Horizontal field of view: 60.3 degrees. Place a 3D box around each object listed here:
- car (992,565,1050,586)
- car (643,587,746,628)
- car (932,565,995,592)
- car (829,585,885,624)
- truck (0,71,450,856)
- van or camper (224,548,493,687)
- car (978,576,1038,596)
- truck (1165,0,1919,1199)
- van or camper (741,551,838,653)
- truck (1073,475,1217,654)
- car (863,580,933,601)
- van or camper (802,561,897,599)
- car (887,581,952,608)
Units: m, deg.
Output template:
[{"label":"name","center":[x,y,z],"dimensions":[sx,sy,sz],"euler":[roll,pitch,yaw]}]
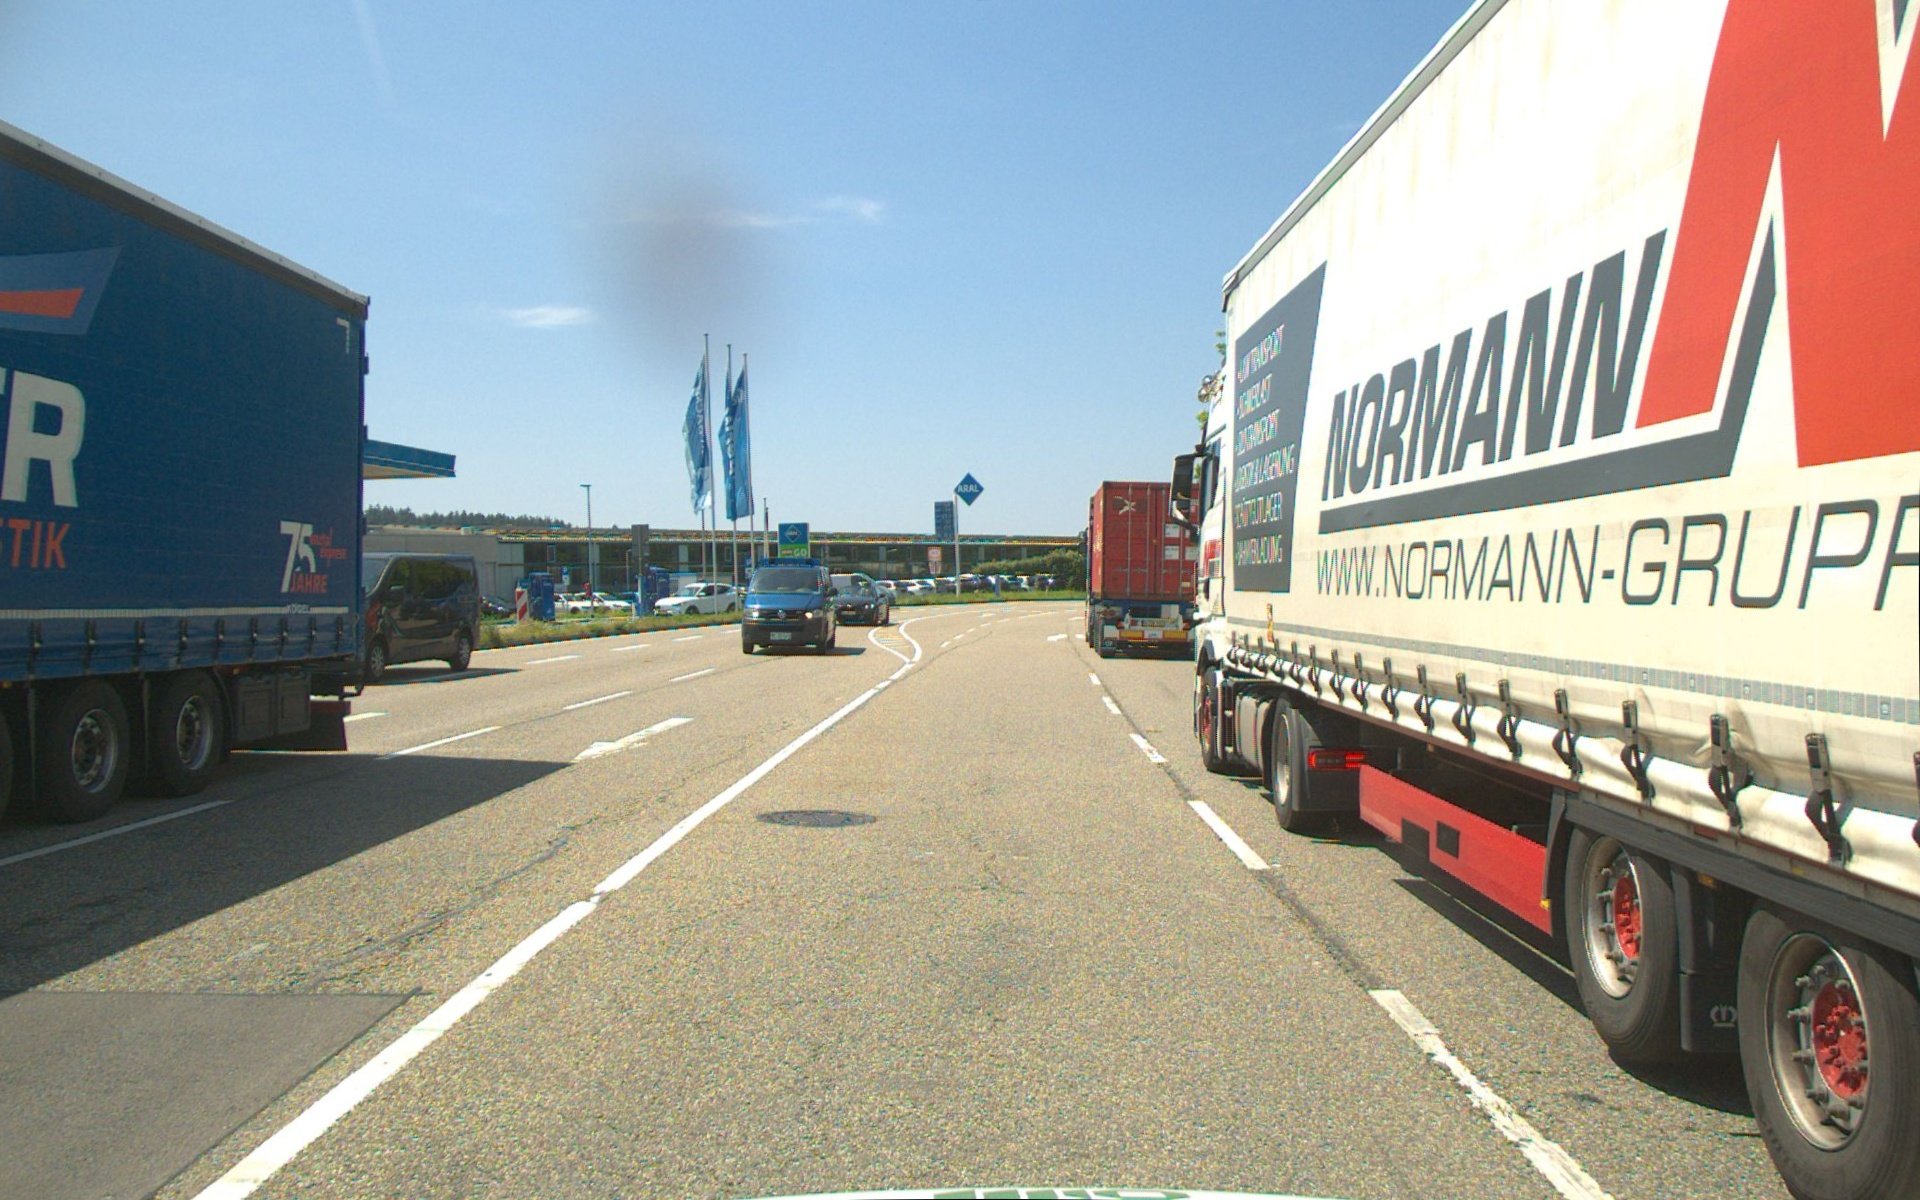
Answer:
[{"label":"car","center":[4.533,-1.812,122.937],"dimensions":[3.911,1.386,1.818],"euler":[-2,0,29]},{"label":"car","center":[-11.474,0.311,71.710],"dimensions":[1.831,1.742,4.503],"euler":[0,0,35]},{"label":"car","center":[0.238,-1.488,113.915],"dimensions":[3.914,1.780,1.995],"euler":[0,0,32]},{"label":"car","center":[-3.570,0.132,57.949],"dimensions":[1.811,1.293,4.175],"euler":[0,0,-2]},{"label":"truck","center":[-6.278,-0.690,6.606],"dimensions":[2.785,3.957,17.008],"euler":[0,0,2]},{"label":"van or camper","center":[-9.397,0.218,26.429],"dimensions":[1.951,1.969,5.386],"euler":[-1,1,5]},{"label":"car","center":[3.518,-1.016,121.110],"dimensions":[3.911,1.340,1.831],"euler":[-2,0,29]},{"label":"truck","center":[3.379,-0.600,7.483],"dimensions":[2.912,4.165,17.636],"euler":[0,0,1]},{"label":"van or camper","center":[-3.826,0.007,37.854],"dimensions":[1.799,2.175,5.341],"euler":[0,1,-2]},{"label":"truck","center":[4.544,-0.927,43.236],"dimensions":[2.593,3.872,13.364],"euler":[2,1,2]},{"label":"car","center":[-4.018,-0.611,106.934],"dimensions":[4.157,1.383,1.996],"euler":[0,0,30]},{"label":"van or camper","center":[-5.762,-1.047,86.519],"dimensions":[4.745,1.938,1.905],"euler":[0,0,5]},{"label":"car","center":[-2.698,-0.346,109.844],"dimensions":[3.914,1.780,1.930],"euler":[0,0,32]}]
